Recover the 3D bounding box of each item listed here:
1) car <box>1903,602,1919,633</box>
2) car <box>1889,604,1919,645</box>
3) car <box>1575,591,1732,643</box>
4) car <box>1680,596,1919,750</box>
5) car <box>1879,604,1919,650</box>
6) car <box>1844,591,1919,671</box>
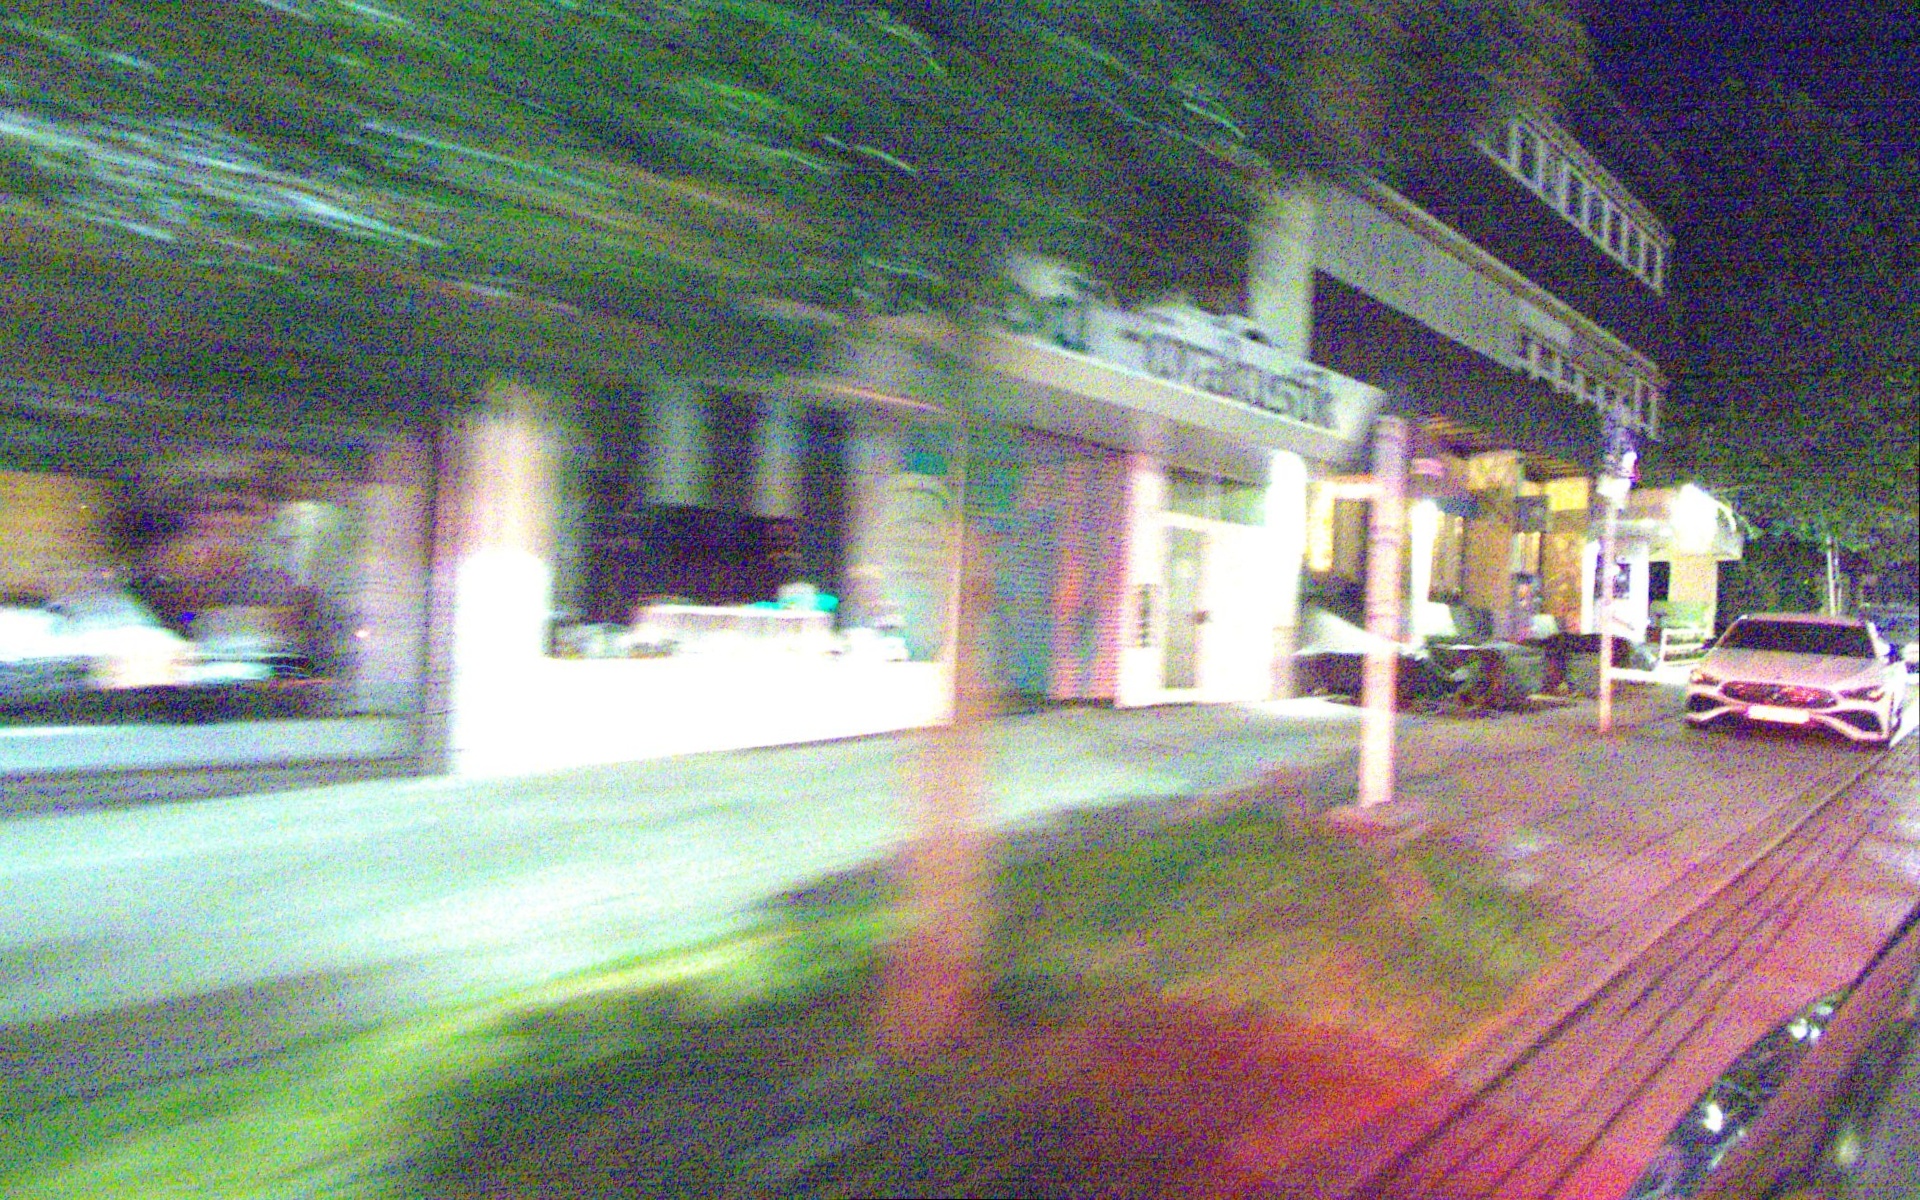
[{"bbox_3d":[47.150,0.838,49.324,1.638,1.485,3.716,-1,-1,44],"label":"car"},{"bbox_3d":[35.733,0.875,37.411,4.533,1.465,1.678,0,-1,-43],"label":"car"},{"bbox_3d":[23.511,0.539,34.468,4.010,1.605,1.699,1,1,15],"label":"car"},{"bbox_3d":[10.405,0.720,12.301,4.518,1.460,1.860,0,2,-44],"label":"car"},{"bbox_3d":[32.290,0.869,34.167,1.779,1.456,4.222,-1,-1,43],"label":"car"},{"bbox_3d":[21.838,0.681,23.352,4.308,1.662,1.789,0,2,-45],"label":"car"}]
